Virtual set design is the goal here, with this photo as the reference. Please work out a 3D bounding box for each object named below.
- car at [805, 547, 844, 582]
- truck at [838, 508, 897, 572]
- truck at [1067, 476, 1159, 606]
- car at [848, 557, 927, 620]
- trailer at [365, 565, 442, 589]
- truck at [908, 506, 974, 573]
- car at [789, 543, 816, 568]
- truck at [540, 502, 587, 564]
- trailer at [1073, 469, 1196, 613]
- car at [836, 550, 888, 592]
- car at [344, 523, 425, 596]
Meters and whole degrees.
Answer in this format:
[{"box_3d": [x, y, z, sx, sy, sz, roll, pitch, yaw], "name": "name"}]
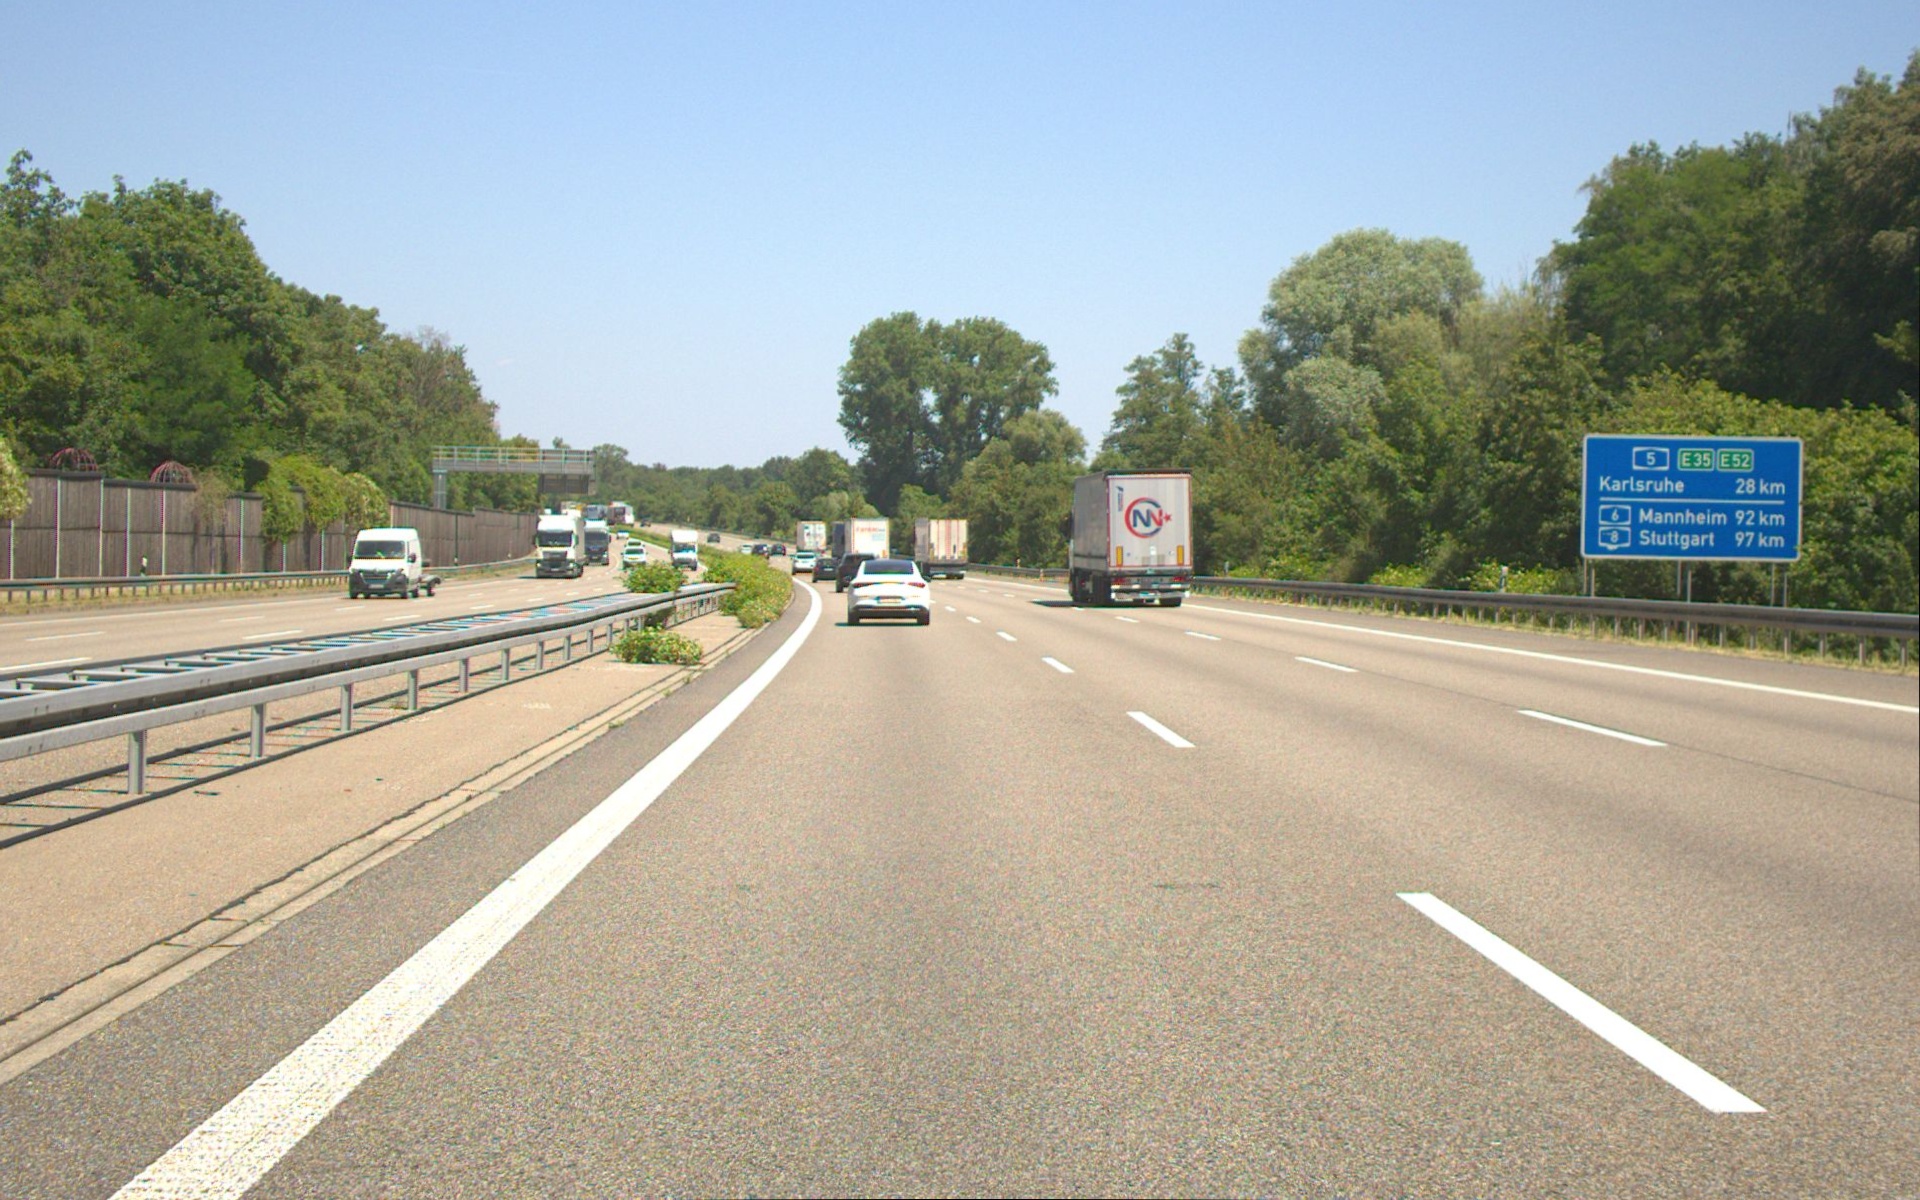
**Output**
[{"box_3d": [-7.913, -2.090, 199.940, 1.993, 2.007, 4.001, 0, 1, -6], "name": "car"}, {"box_3d": [-6.499, -4.196, 240.524, 3.359, 4.296, 10.831, 0, 1, -6], "name": "truck"}, {"box_3d": [5.128, -1.987, 116.141, 2.605, 4.272, 5.436, 0, 1, -2], "name": "truck"}, {"box_3d": [-1.615, -0.269, 76.881, 1.715, 1.365, 3.375, 0, 1, -1], "name": "car"}, {"box_3d": [-20.010, -0.825, 123.805, 2.161, 0.804, 6.282, 0, 1, -4], "name": "trailer"}, {"box_3d": [-1.281, -3.948, 225.196, 3.492, 4.296, 10.990, 0, 1, -4], "name": "truck"}, {"box_3d": [-11.582, -3.278, 252.360, 1.723, 1.776, 4.001, 0, 1, -6], "name": "car"}, {"box_3d": [-25.580, -4.311, 221.888, 2.686, 3.881, 5.574, 0, 1, -3], "name": "truck"}, {"box_3d": [5.395, -1.857, 108.639, 2.624, 4.246, 14.062, 0, 1, -2], "name": "trailer"}, {"box_3d": [-4.310, -1.289, 150.336, 1.993, 1.766, 4.001, 0, 1, -5], "name": "car"}, {"box_3d": [-19.700, -1.404, 117.938, 2.023, 2.423, 5.413, 0, 1, -2], "name": "car"}]
